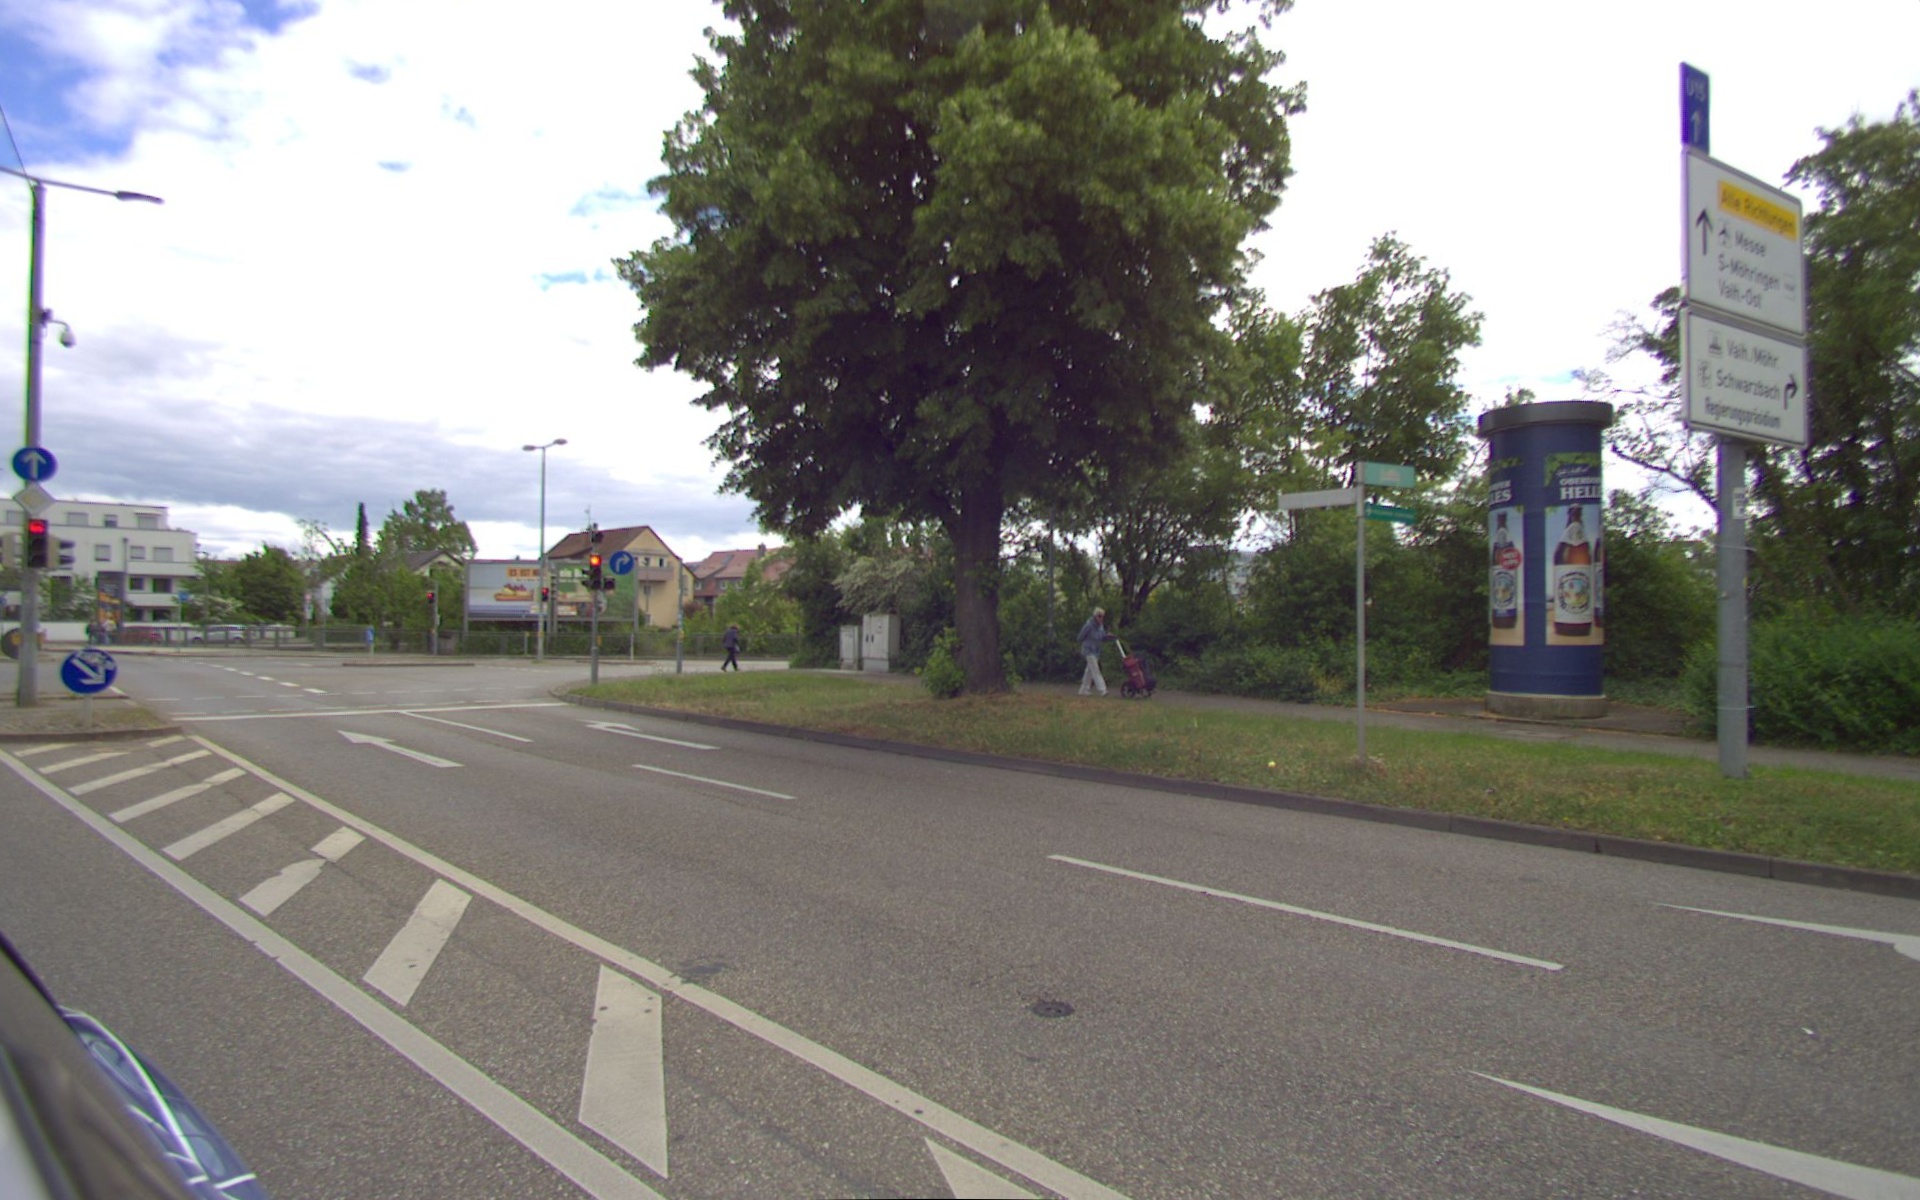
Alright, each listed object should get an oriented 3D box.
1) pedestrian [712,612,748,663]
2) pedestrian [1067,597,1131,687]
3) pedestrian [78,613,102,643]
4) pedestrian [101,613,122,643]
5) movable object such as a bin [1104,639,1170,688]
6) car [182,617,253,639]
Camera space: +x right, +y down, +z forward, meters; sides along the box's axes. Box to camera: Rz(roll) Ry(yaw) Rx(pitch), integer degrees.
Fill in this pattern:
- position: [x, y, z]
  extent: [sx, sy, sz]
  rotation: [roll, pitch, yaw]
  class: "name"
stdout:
- position: [-6.672, 1.084, 29.378]
  extent: [0.598, 1.418, 0.768]
  rotation: [3, 1, 31]
  class: "pedestrian"
- position: [2.438, 0.731, 17.752]
  extent: [0.923, 1.534, 0.649]
  rotation: [-1, -3, 40]
  class: "pedestrian"
- position: [-48.688, 1.545, 56.624]
  extent: [1.065, 1.646, 0.652]
  rotation: [-1, -1, 26]
  class: "pedestrian"
- position: [-48.177, 1.579, 57.479]
  extent: [0.828, 1.646, 0.652]
  rotation: [-1, -1, 26]
  class: "pedestrian"
- position: [3.017, 1.067, 17.257]
  extent: [0.896, 0.804, 0.649]
  rotation: [-1, -3, 40]
  class: "movable object such as a bin"
- position: [-57.213, 2.177, 78.037]
  extent: [4.061, 1.547, 1.651]
  rotation: [2, -4, -13]
  class: "car"
